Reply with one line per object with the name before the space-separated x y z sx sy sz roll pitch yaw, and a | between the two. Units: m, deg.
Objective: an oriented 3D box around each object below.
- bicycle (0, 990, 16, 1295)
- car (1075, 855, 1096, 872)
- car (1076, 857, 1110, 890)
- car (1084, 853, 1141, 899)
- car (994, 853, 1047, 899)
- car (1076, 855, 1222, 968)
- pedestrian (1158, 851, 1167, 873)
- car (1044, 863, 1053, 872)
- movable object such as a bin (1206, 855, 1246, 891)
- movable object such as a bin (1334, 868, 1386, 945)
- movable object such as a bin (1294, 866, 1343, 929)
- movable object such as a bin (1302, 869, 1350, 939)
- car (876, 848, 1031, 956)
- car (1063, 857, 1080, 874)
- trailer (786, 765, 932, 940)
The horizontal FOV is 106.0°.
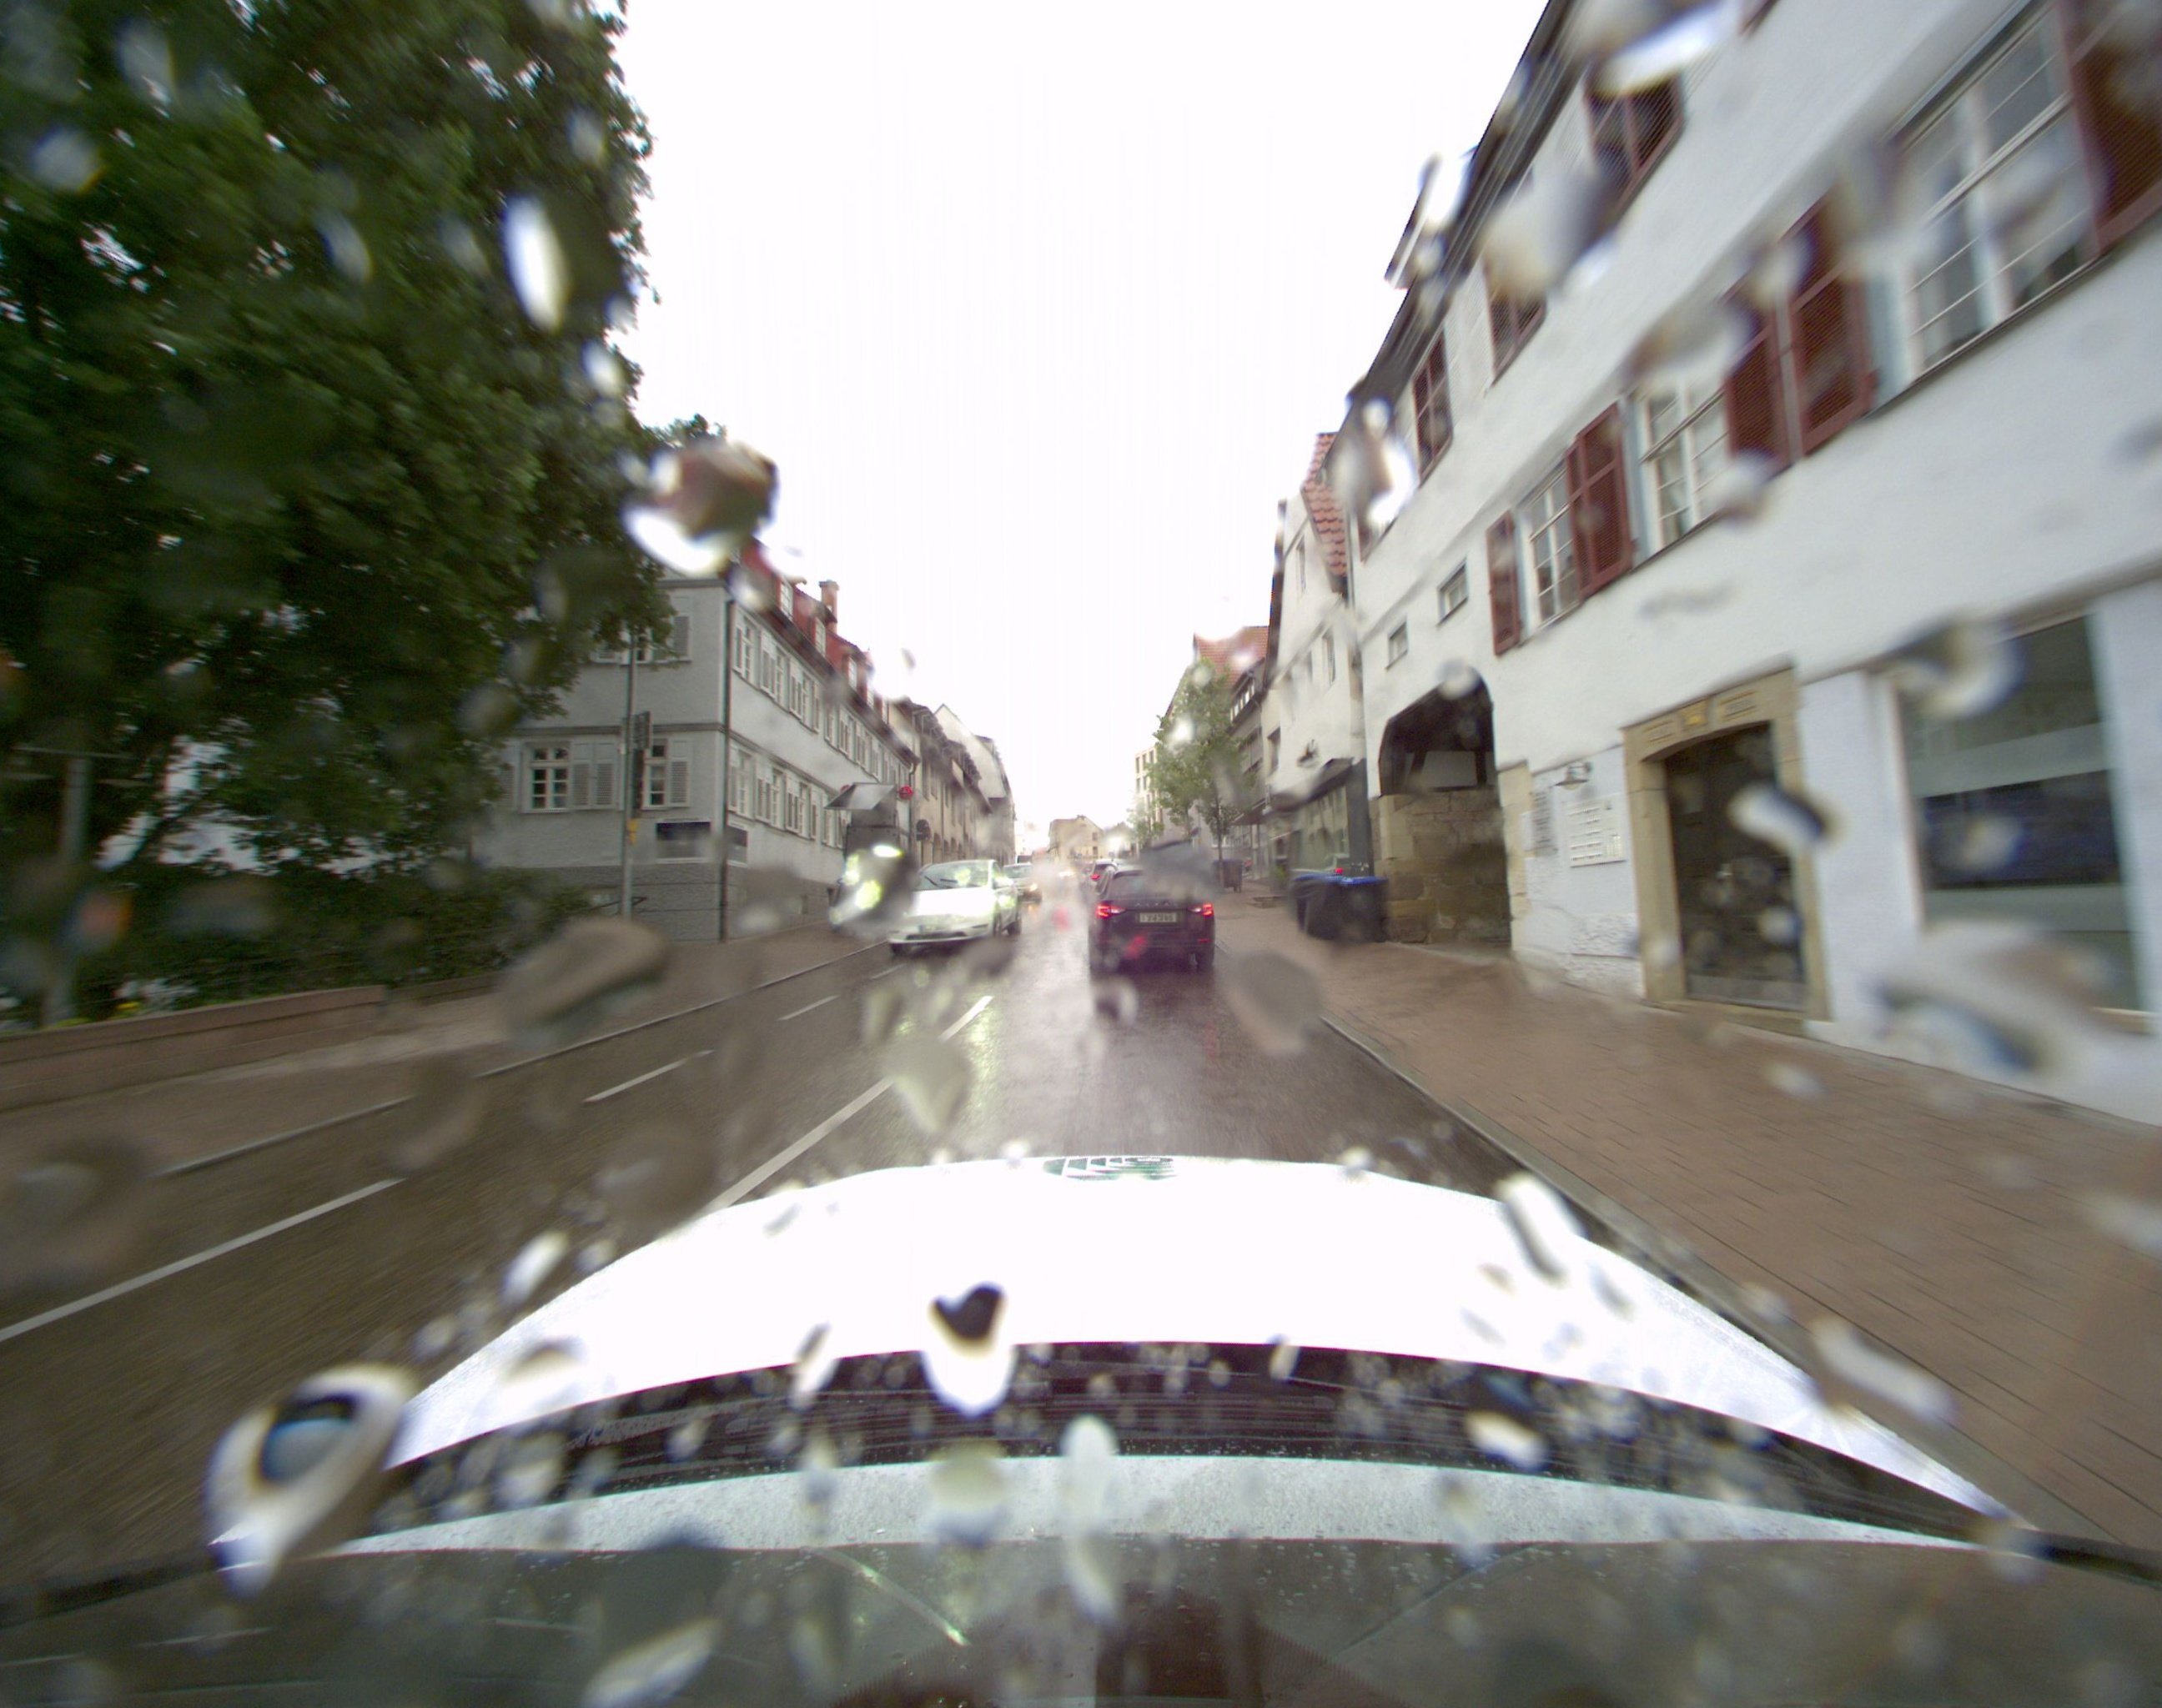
bicycle | -4.666 1.097 2.146 0.743 1.163 2.160 -2 -2 7
car | 0.395 0.842 73.965 1.699 1.552 3.602 -1 0 -3
car | 0.605 1.109 44.615 1.623 1.530 3.995 -2 -5 -2
car | 1.184 0.841 29.155 1.848 1.473 4.003 -2 -3 4
car | -2.204 0.870 30.418 1.768 1.534 3.707 -1 -3 -1
car | 0.990 0.770 12.882 1.879 1.448 4.360 -2 0 3
pedestrian | 6.624 0.645 66.324 0.702 1.725 0.833 -1 -1 3
car | -5.777 2.400 144.058 1.623 1.530 3.996 -1 0 -2
movable object such as a bin | 5.699 0.755 32.139 1.282 1.350 1.486 -1 -3 -1
movable object such as a bin | 4.628 0.856 13.537 0.623 1.205 0.605 -2 2 -1
movable object such as a bin | 4.407 0.797 15.153 0.656 1.062 0.614 -6 -1 2
movable object such as a bin | 4.254 0.858 14.174 0.565 1.108 0.676 -5 0 3
car | -2.283 0.826 15.842 1.865 1.662 4.314 -5 -1 5
car | -1.138 1.396 101.349 1.987 2.014 3.999 -1 -1 0
trailer | -4.912 -0.023 18.779 1.986 3.533 4.576 -1 0 1
